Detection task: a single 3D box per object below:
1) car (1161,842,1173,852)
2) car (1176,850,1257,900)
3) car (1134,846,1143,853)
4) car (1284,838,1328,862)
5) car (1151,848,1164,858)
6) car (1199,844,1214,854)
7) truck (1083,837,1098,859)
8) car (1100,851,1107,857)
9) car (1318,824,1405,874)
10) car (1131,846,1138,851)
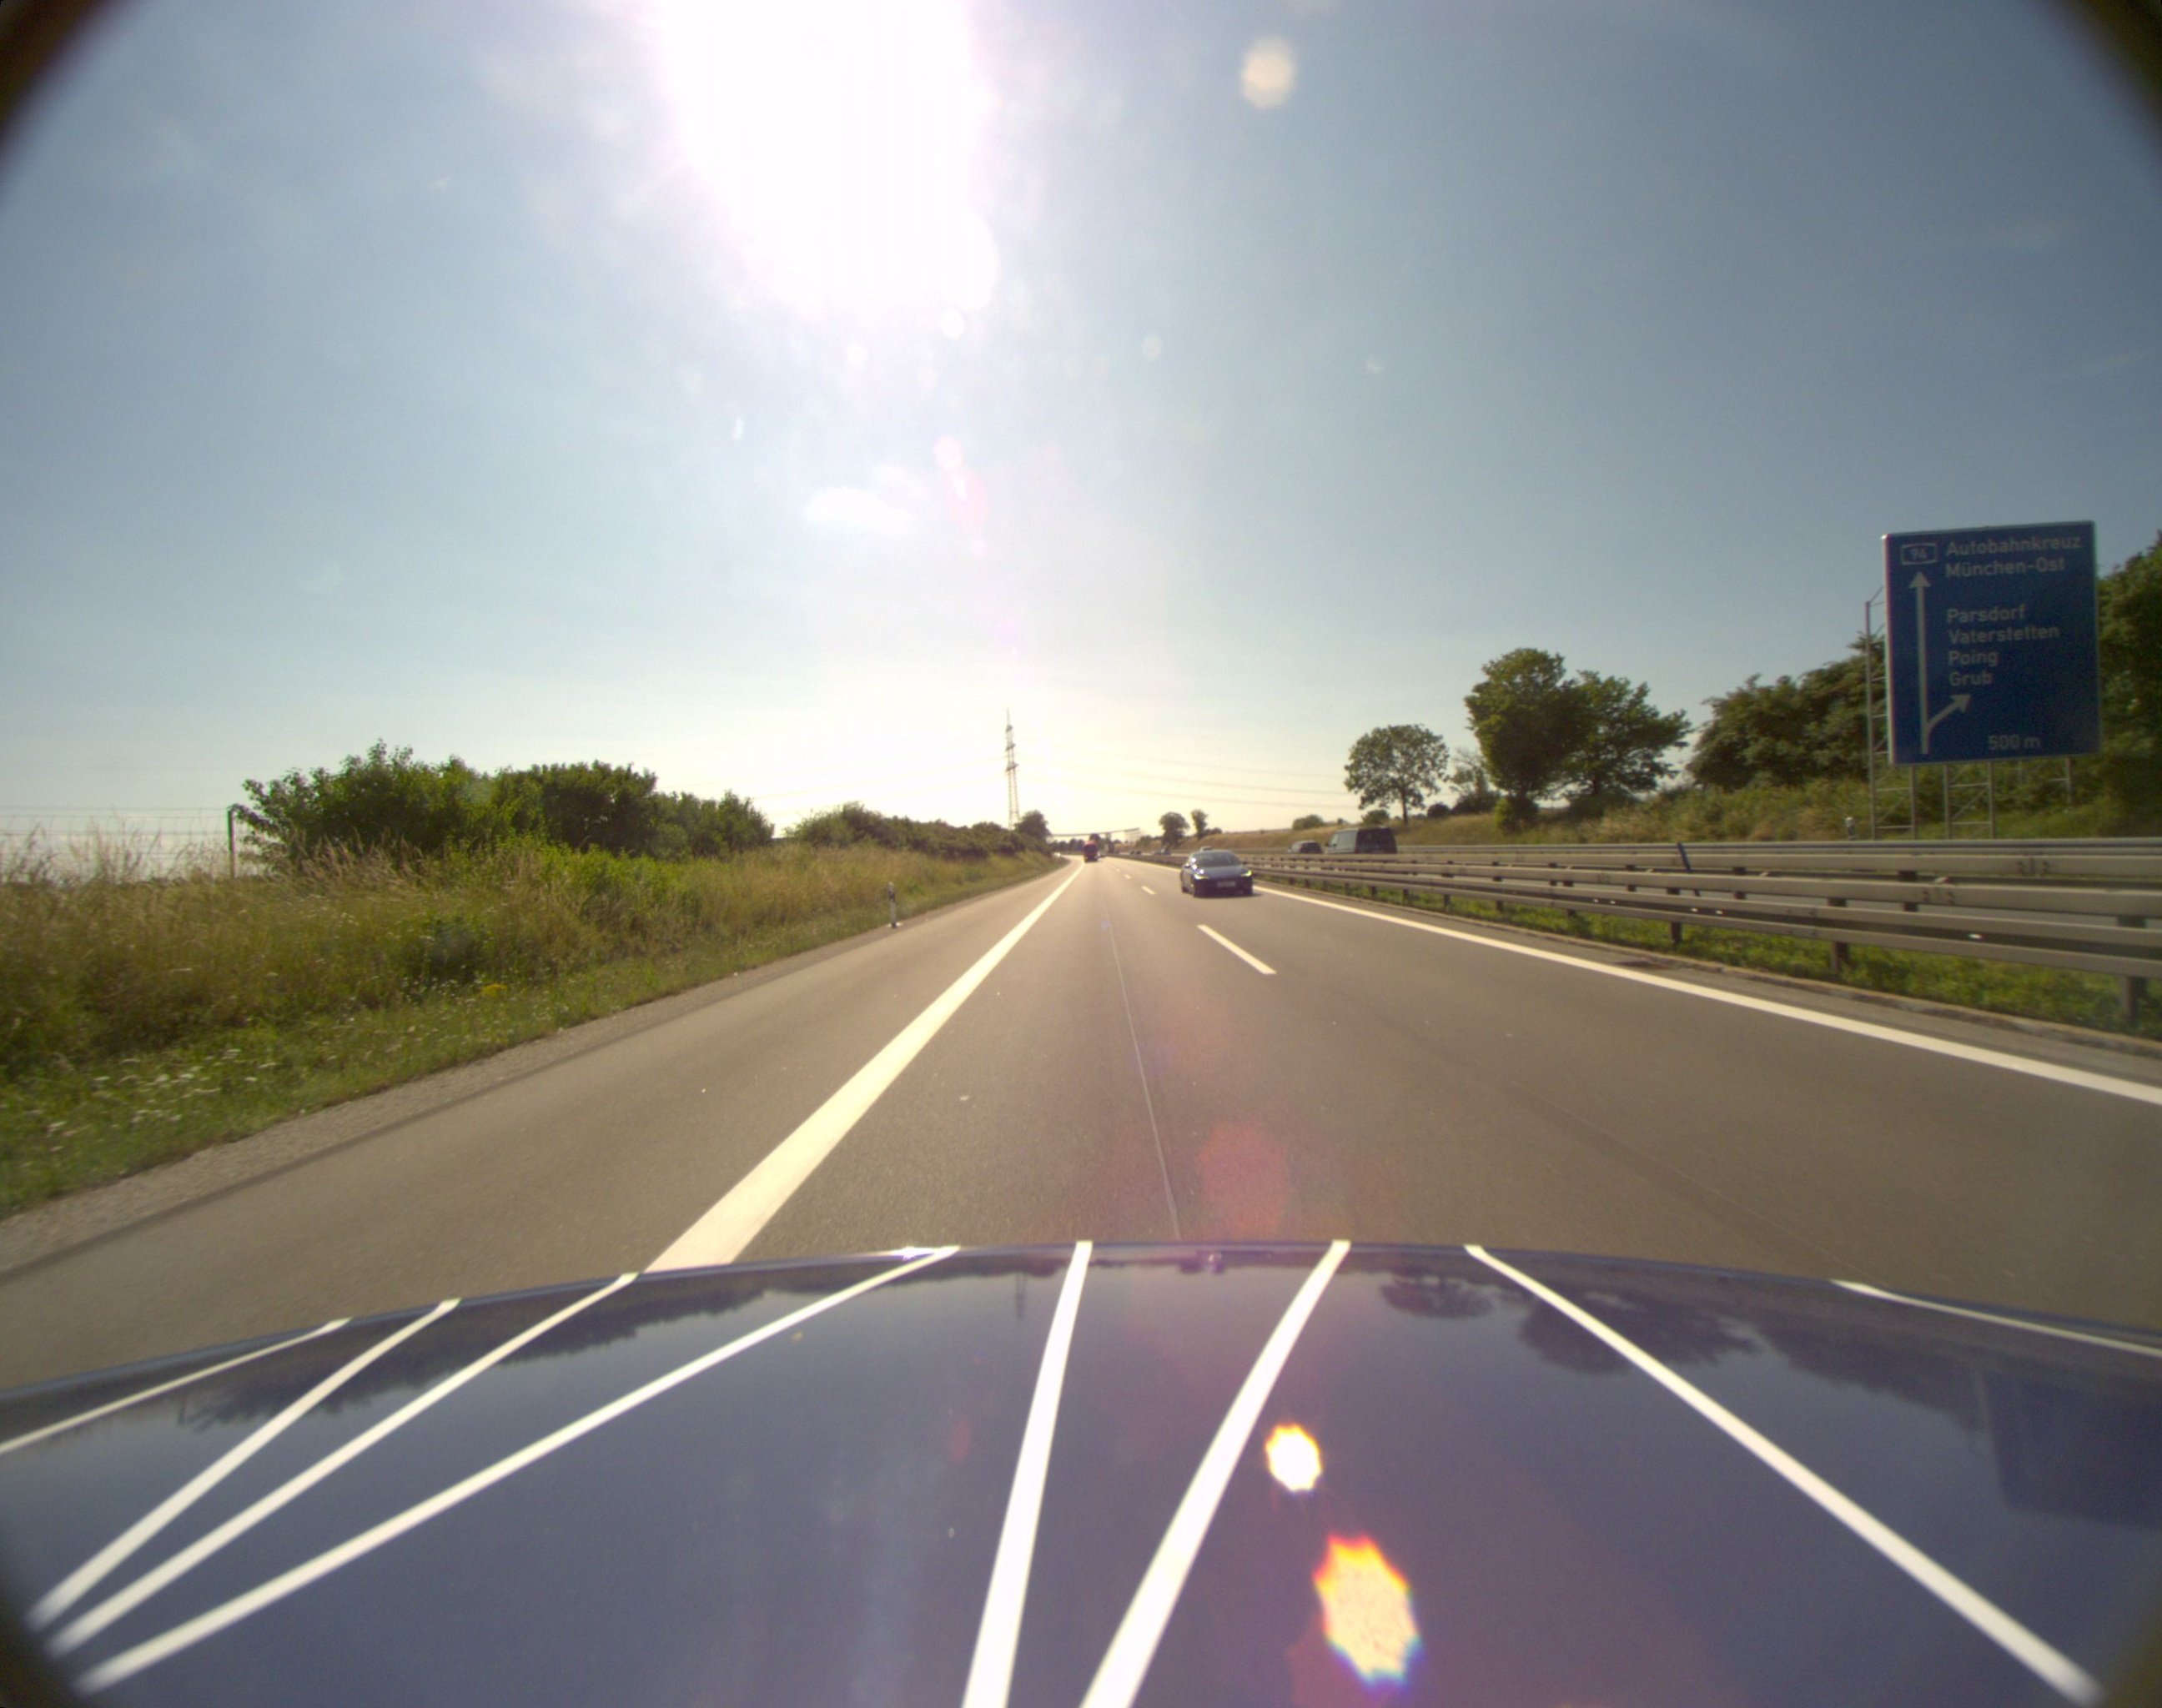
[{"bbox_3d":[17.905,-1.492,158.039,1.950,1.835,5.184,-4,1,1],"label":"car"},{"bbox_3d":[4.463,0.633,25.931,1.852,1.424,5.865,-2,1,2],"label":"car"},{"bbox_3d":[13.761,-1.119,182.126,1.620,1.522,4.000,-4,1,1],"label":"car"},{"bbox_3d":[16.734,-0.319,56.783,1.998,1.602,4.487,-3,0,1],"label":"car"},{"bbox_3d":[13.313,-0.149,132.428,1.950,1.560,4.587,-4,1,1],"label":"car"},{"bbox_3d":[17.585,-0.673,106.659,1.526,1.344,4.232,-4,0,1],"label":"car"},{"bbox_3d":[1.765,-1.171,144.111,2.570,3.939,8.642,-5,1,0],"label":"truck"},{"bbox_3d":[5.908,0.089,198.562,1.860,1.361,3.999,-2,1,1],"label":"car"},{"bbox_3d":[12.322,-0.223,33.739,1.998,1.961,5.039,-3,0,1],"label":"car"},{"bbox_3d":[16.703,-1.706,236.029,1.729,1.459,5.241,-4,0,1],"label":"car"}]
